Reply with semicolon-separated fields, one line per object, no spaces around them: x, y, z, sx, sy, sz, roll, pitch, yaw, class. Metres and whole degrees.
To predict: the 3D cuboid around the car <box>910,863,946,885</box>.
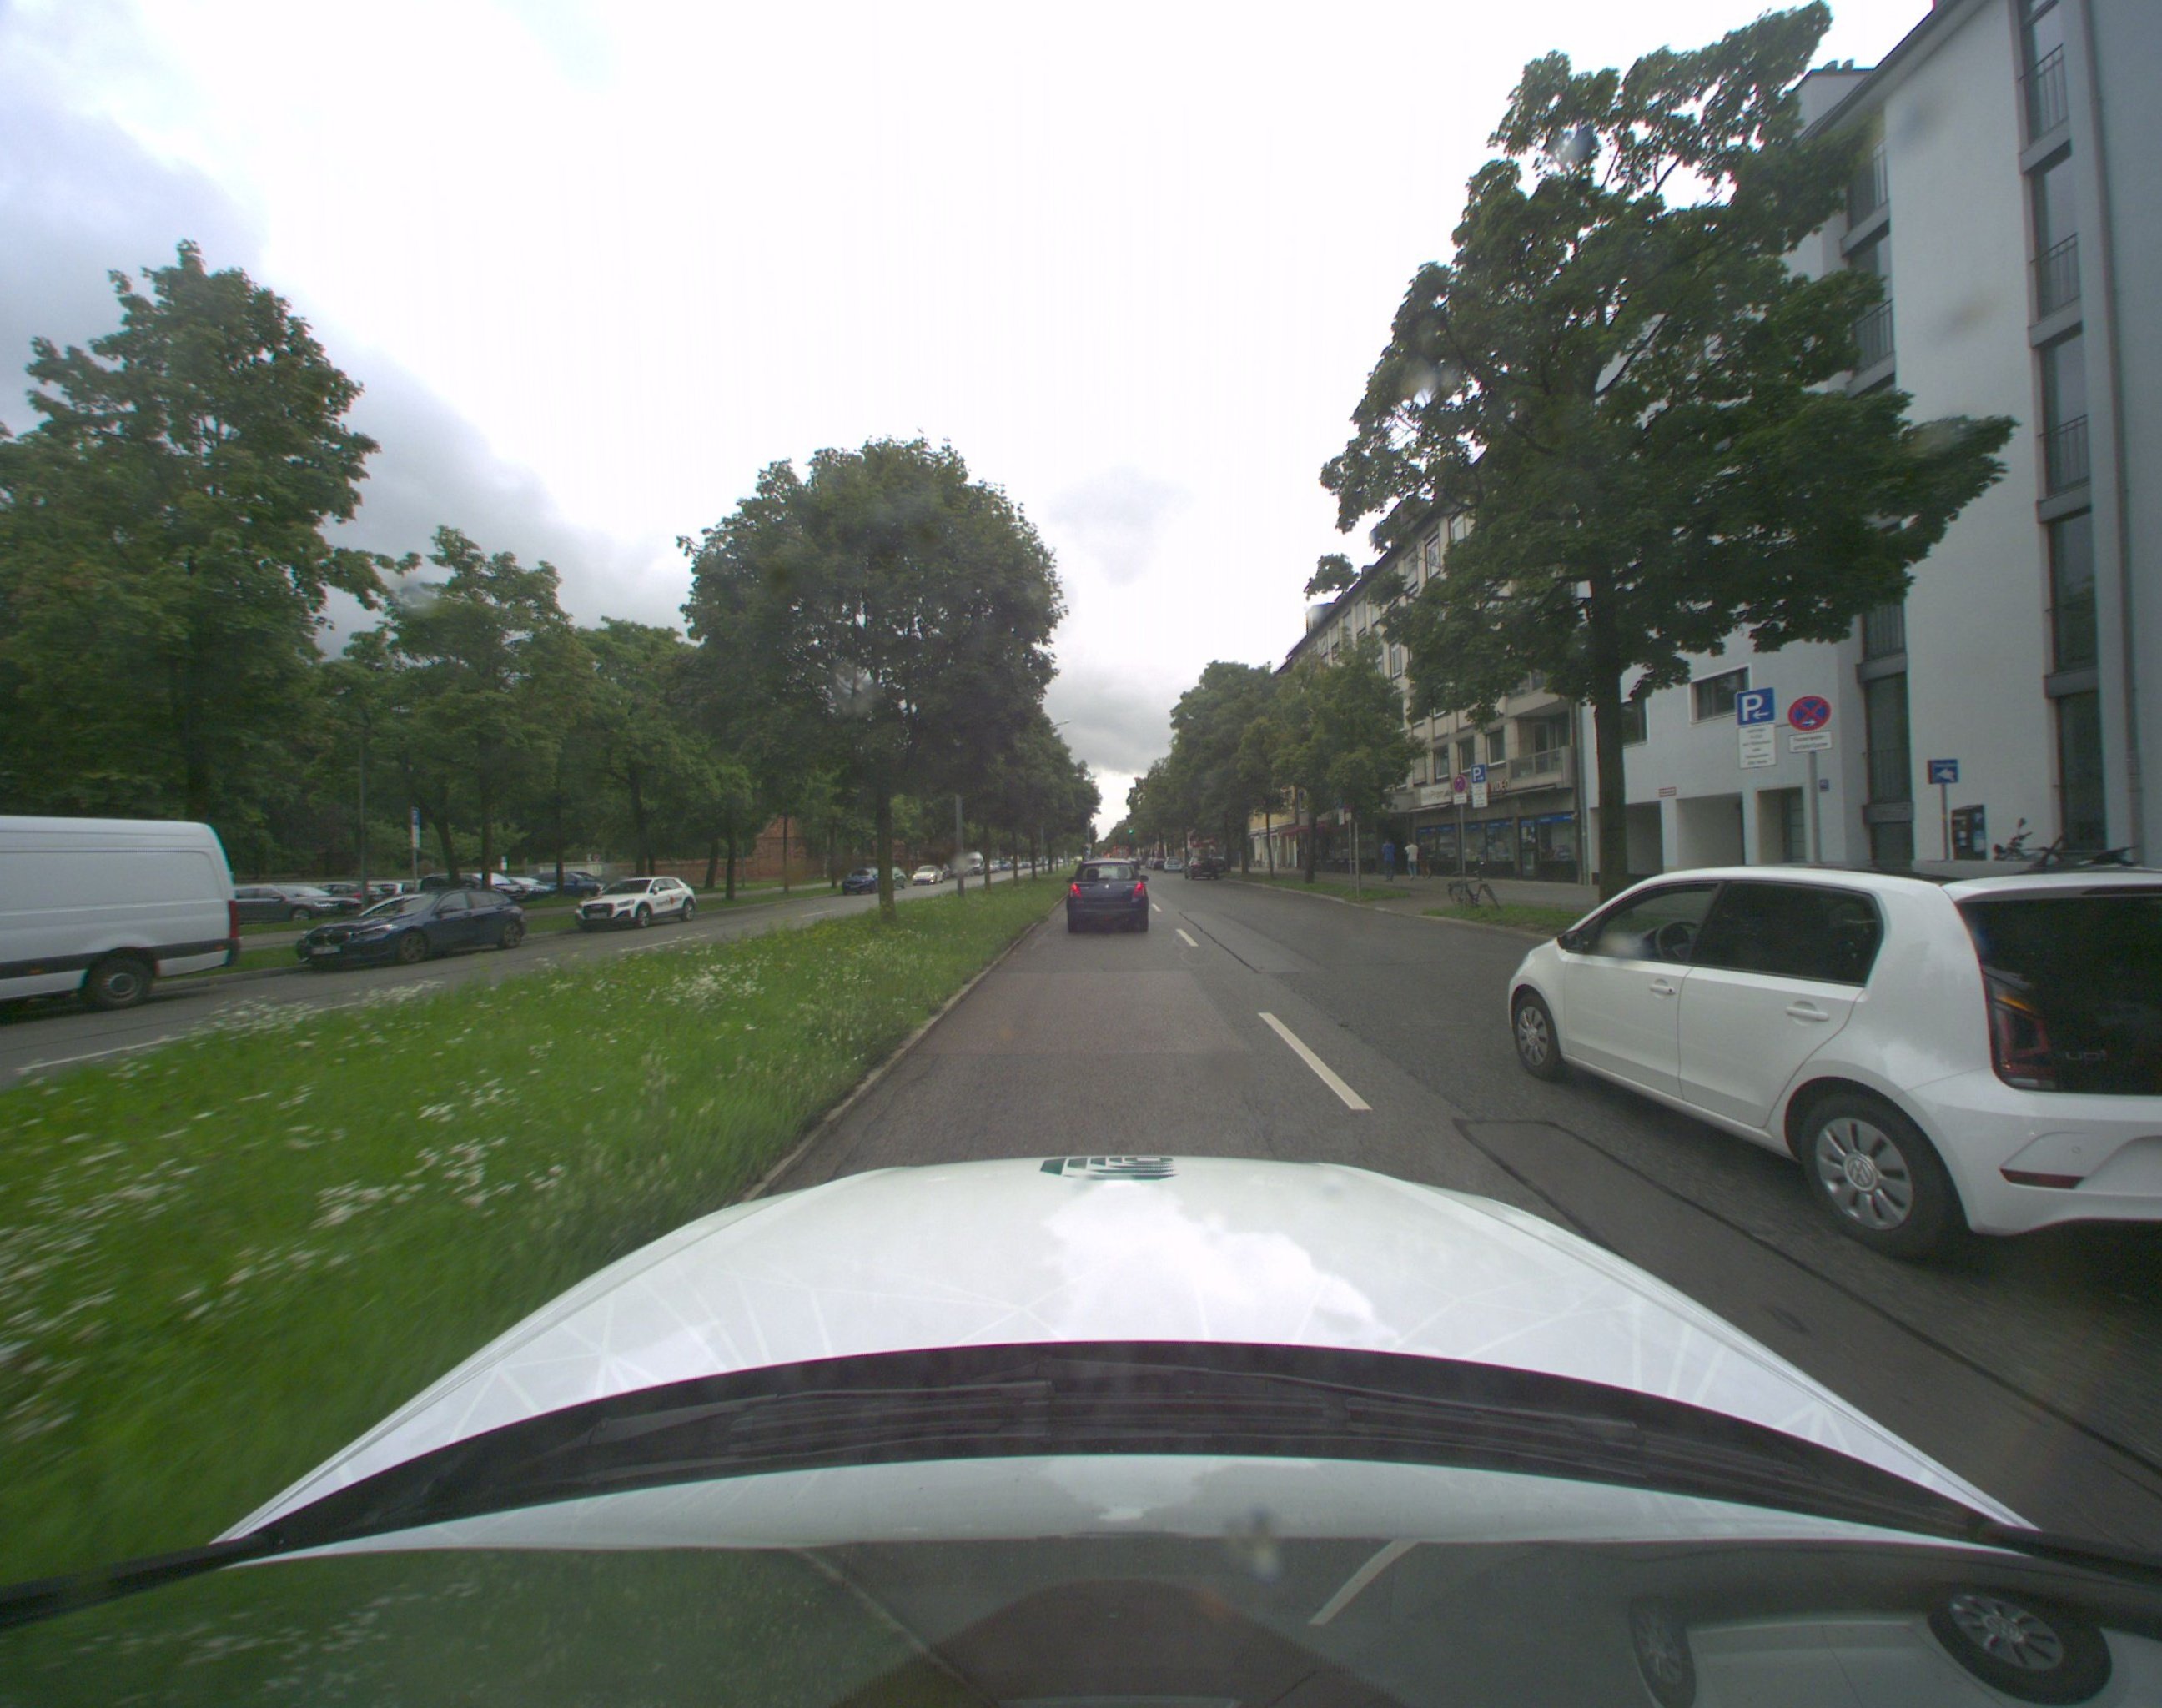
-12.077;1.557;64.643;1.754;1.537;4.318;-5;0;3;car

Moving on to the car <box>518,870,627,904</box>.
-26.259;1.700;42.141;4.334;1.505;2.000;-2;0;1;car

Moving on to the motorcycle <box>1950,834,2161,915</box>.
14.770;0.285;12.387;0.758;1.086;2.200;-2;0;2;motorcycle

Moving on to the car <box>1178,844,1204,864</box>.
9.738;-0.002;72.488;1.808;1.626;4.310;-3;0;3;car

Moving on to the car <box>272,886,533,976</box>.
-13.861;1.494;17.038;1.851;1.491;4.251;-2;-1;0;car

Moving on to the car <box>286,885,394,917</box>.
-38.501;2.428;42.372;3.973;1.536;1.816;0;0;0;car

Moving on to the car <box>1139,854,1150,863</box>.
12.603;0.902;161.088;1.986;1.530;4.001;-2;0;1;car

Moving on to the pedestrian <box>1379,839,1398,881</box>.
12.877;0.250;34.134;0.498;1.733;0.733;-2;0;2;pedestrian

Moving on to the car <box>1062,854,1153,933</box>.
0.615;0.790;18.066;1.746;1.505;4.002;-2;0;2;car

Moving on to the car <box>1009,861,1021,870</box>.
-12.154;2.054;150.277;1.795;1.534;4.001;-2;0;1;car

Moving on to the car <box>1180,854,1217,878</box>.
7.723;0.788;53.837;1.986;1.452;4.002;-2;0;2;car

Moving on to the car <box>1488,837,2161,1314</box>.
3.811;0.691;4.274;1.681;1.490;3.435;-1;0;1;car

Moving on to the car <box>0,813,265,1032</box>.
-14.202;0.891;9.385;2.132;2.643;7.108;-3;0;2;car

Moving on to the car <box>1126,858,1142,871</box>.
6.547;1.301;100.892;1.815;1.477;4.692;0;0;1;car

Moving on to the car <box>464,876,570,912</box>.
-26.971;1.915;38.977;3.958;1.505;2.008;-2;0;14;car

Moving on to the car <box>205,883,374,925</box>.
-26.950;1.688;27.819;4.154;1.209;1.786;-2;0;4;car

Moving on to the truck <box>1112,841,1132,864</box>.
6.906;-0.202;138.477;3.029;3.557;13.682;-1;0;2;truck

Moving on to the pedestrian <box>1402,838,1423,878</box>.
13.904;0.168;34.141;0.547;1.629;0.641;-3;0;1;pedestrian

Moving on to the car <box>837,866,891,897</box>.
-12.706;1.556;47.907;1.881;1.537;4.313;-5;0;0;car

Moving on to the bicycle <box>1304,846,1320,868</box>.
15.476;0.193;54.593;0.578;1.463;1.689;-2;0;2;bicycle

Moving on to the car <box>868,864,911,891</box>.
-12.514;1.482;53.474;1.632;1.537;4.316;-5;0;1;car

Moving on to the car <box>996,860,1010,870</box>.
-12.703;1.822;133.145;1.700;1.534;4.001;-2;0;1;car

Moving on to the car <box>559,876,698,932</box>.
-13.554;1.443;24.704;1.851;1.491;4.142;-2;-1;0;car

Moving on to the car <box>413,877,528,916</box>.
-27.135;1.891;36.241;3.958;1.505;2.008;-2;0;14;car

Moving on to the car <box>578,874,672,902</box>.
-26.423;1.933;47.246;4.397;1.392;1.760;-2;0;1;car

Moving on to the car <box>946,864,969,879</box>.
-13.455;1.920;88.853;1.807;1.536;4.441;-1;0;1;car

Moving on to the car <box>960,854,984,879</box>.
-13.464;1.550;101.349;2.179;2.954;6.189;-1;0;-1;car

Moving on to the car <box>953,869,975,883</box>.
-13.524;2.514;94.524;1.807;1.536;4.820;-1;0;1;car

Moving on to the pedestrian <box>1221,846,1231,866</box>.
14.267;0.202;80.111;0.790;1.855;0.776;-4;0;-1;pedestrian

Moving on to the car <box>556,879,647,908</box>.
-26.506;2.163;45.077;3.962;1.392;1.760;-2;0;1;car

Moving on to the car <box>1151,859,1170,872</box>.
9.263;1.340;94.983;1.648;1.452;4.706;-2;0;-1;car

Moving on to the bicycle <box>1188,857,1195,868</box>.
10.628;0.812;78.641;0.446;0.980;1.799;-2;0;1;bicycle

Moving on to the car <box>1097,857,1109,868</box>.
3.215;1.201;119.433;1.712;1.500;4.302;-1;0;1;car

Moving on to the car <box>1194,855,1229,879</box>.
9.778;0.925;61.272;1.986;1.643;4.335;-2;0;2;car

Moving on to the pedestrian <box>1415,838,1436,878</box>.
14.596;0.171;34.480;0.539;1.640;0.725;-2;0;1;pedestrian

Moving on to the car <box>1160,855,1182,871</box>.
8.650;0.828;78.447;1.648;1.452;3.998;-2;0;-1;car

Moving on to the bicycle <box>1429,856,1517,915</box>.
8.898;0.701;18.606;0.455;1.256;2.137;-2;0;-16;bicycle
